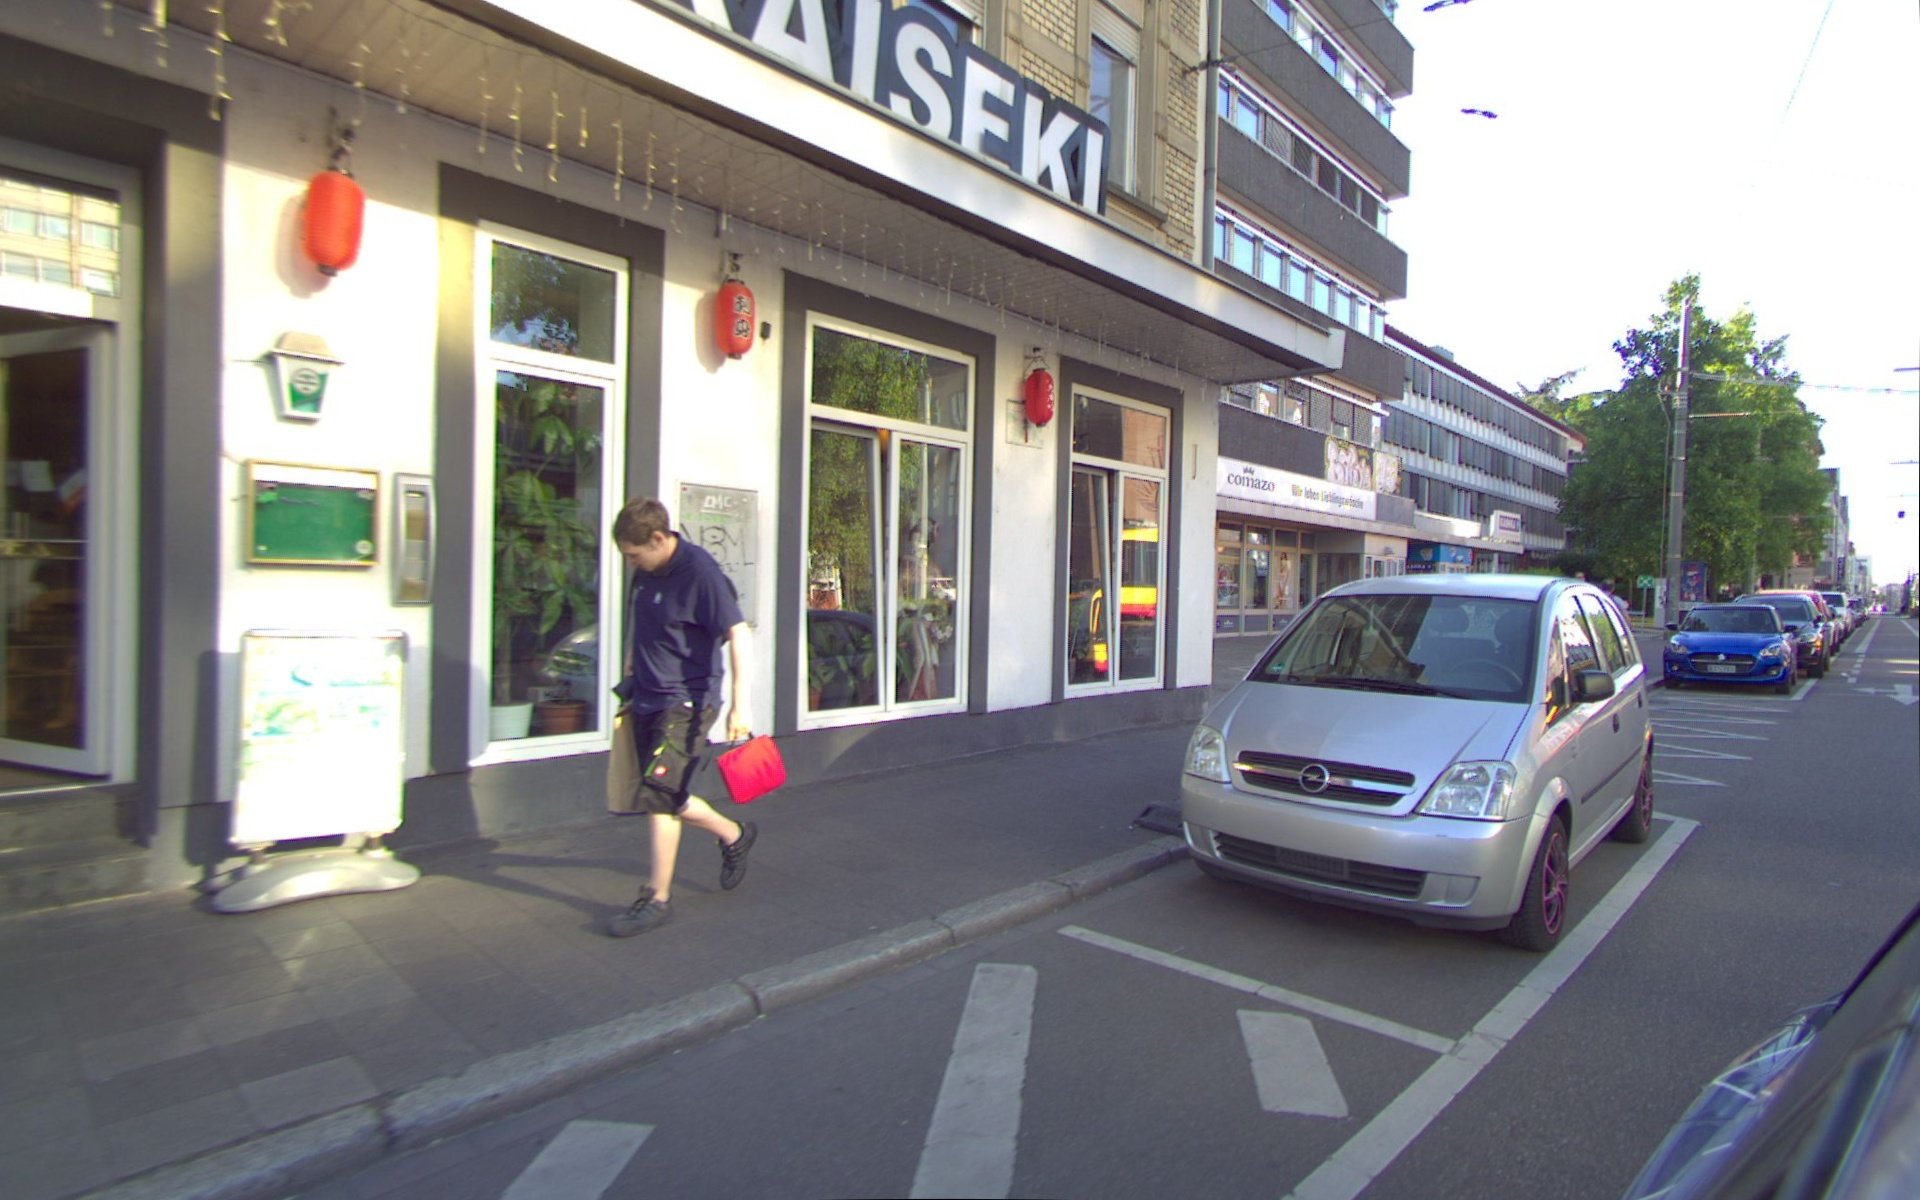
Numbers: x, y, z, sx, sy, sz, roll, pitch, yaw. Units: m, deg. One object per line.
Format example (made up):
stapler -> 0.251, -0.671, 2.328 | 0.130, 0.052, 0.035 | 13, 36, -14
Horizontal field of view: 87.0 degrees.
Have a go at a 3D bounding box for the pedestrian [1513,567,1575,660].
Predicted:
pedestrian -> 11.592, 0.252, 20.090 | 0.811, 1.778, 1.017 | 3, 2, 43

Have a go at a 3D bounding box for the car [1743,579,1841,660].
car -> 20.734, 0.419, 25.159 | 1.674, 1.831, 4.183 | 0, 1, 42

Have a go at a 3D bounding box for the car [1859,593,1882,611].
car -> 76.001, 0.122, 84.427 | 1.416, 1.452, 3.813 | 0, 1, 43

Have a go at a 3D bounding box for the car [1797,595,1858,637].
car -> 33.013, 0.575, 38.480 | 1.673, 1.422, 4.105 | 0, 1, 42

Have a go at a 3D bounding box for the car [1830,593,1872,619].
car -> 52.867, 0.341, 60.008 | 1.779, 1.446, 4.147 | 1, 0, 43

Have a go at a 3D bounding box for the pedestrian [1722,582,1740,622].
pedestrian -> 34.282, 0.099, 45.005 | 0.493, 1.734, 0.430 | 5, 3, 43

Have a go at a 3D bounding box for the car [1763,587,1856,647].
car -> 24.855, 0.453, 29.555 | 1.787, 1.616, 4.257 | 0, 0, 44

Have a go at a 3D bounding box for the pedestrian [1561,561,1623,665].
pedestrian -> 12.197, 0.226, 19.523 | 0.793, 1.922, 1.017 | 3, 2, 43

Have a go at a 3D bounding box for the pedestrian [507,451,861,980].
pedestrian -> -1.129, 0.374, 4.164 | 0.946, 1.814, 1.038 | 3, 2, 43

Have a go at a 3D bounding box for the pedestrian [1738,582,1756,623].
pedestrian -> 34.688, 0.103, 44.586 | 0.493, 1.734, 0.430 | 5, 3, 43

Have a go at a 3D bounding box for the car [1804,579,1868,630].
car -> 37.243, 0.169, 43.006 | 1.877, 2.047, 4.828 | 0, 0, 43

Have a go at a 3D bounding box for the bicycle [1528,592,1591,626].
bicycle -> 21.504, 0.311, 36.343 | 1.880, 1.109, 0.462 | 2, 2, 42

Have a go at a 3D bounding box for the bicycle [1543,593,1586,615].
bicycle -> 27.376, 0.169, 45.812 | 1.596, 0.971, 0.367 | 1, 1, 15

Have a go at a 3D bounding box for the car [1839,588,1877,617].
car -> 57.193, 0.144, 64.466 | 1.778, 1.767, 4.406 | 0, 1, 42

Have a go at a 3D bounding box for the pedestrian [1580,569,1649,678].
pedestrian -> 10.967, 0.365, 16.952 | 0.787, 1.759, 0.931 | 2, 1, 43

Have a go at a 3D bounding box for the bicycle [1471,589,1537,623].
bicycle -> 19.772, 0.198, 36.818 | 2.009, 1.109, 0.629 | 4, 2, 37

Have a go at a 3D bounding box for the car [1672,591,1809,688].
car -> 13.770, 0.617, 17.784 | 1.636, 1.511, 3.738 | -1, 0, 42

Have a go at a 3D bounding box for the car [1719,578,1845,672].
car -> 17.595, 0.441, 21.578 | 1.820, 1.779, 4.406 | 0, 1, 43

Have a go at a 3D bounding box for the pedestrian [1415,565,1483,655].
pedestrian -> 10.019, 0.185, 20.738 | 0.901, 1.734, 1.017 | 5, 3, 43

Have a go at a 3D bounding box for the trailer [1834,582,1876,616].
trailer -> 60.322, -0.086, 68.155 | 5.228, 2.176, 1.780 | 0, 0, -45

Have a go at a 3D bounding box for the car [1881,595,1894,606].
car -> 141.454, 0.017, 154.324 | 1.416, 1.642, 3.571 | 0, 0, 43

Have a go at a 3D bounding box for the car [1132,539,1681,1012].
car -> 2.675, 0.580, 5.511 | 1.636, 1.635, 3.886 | 1, 1, 42

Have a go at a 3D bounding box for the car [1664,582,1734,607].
car -> 58.298, -0.464, 79.866 | 4.352, 1.692, 1.566 | 5, 4, 40
